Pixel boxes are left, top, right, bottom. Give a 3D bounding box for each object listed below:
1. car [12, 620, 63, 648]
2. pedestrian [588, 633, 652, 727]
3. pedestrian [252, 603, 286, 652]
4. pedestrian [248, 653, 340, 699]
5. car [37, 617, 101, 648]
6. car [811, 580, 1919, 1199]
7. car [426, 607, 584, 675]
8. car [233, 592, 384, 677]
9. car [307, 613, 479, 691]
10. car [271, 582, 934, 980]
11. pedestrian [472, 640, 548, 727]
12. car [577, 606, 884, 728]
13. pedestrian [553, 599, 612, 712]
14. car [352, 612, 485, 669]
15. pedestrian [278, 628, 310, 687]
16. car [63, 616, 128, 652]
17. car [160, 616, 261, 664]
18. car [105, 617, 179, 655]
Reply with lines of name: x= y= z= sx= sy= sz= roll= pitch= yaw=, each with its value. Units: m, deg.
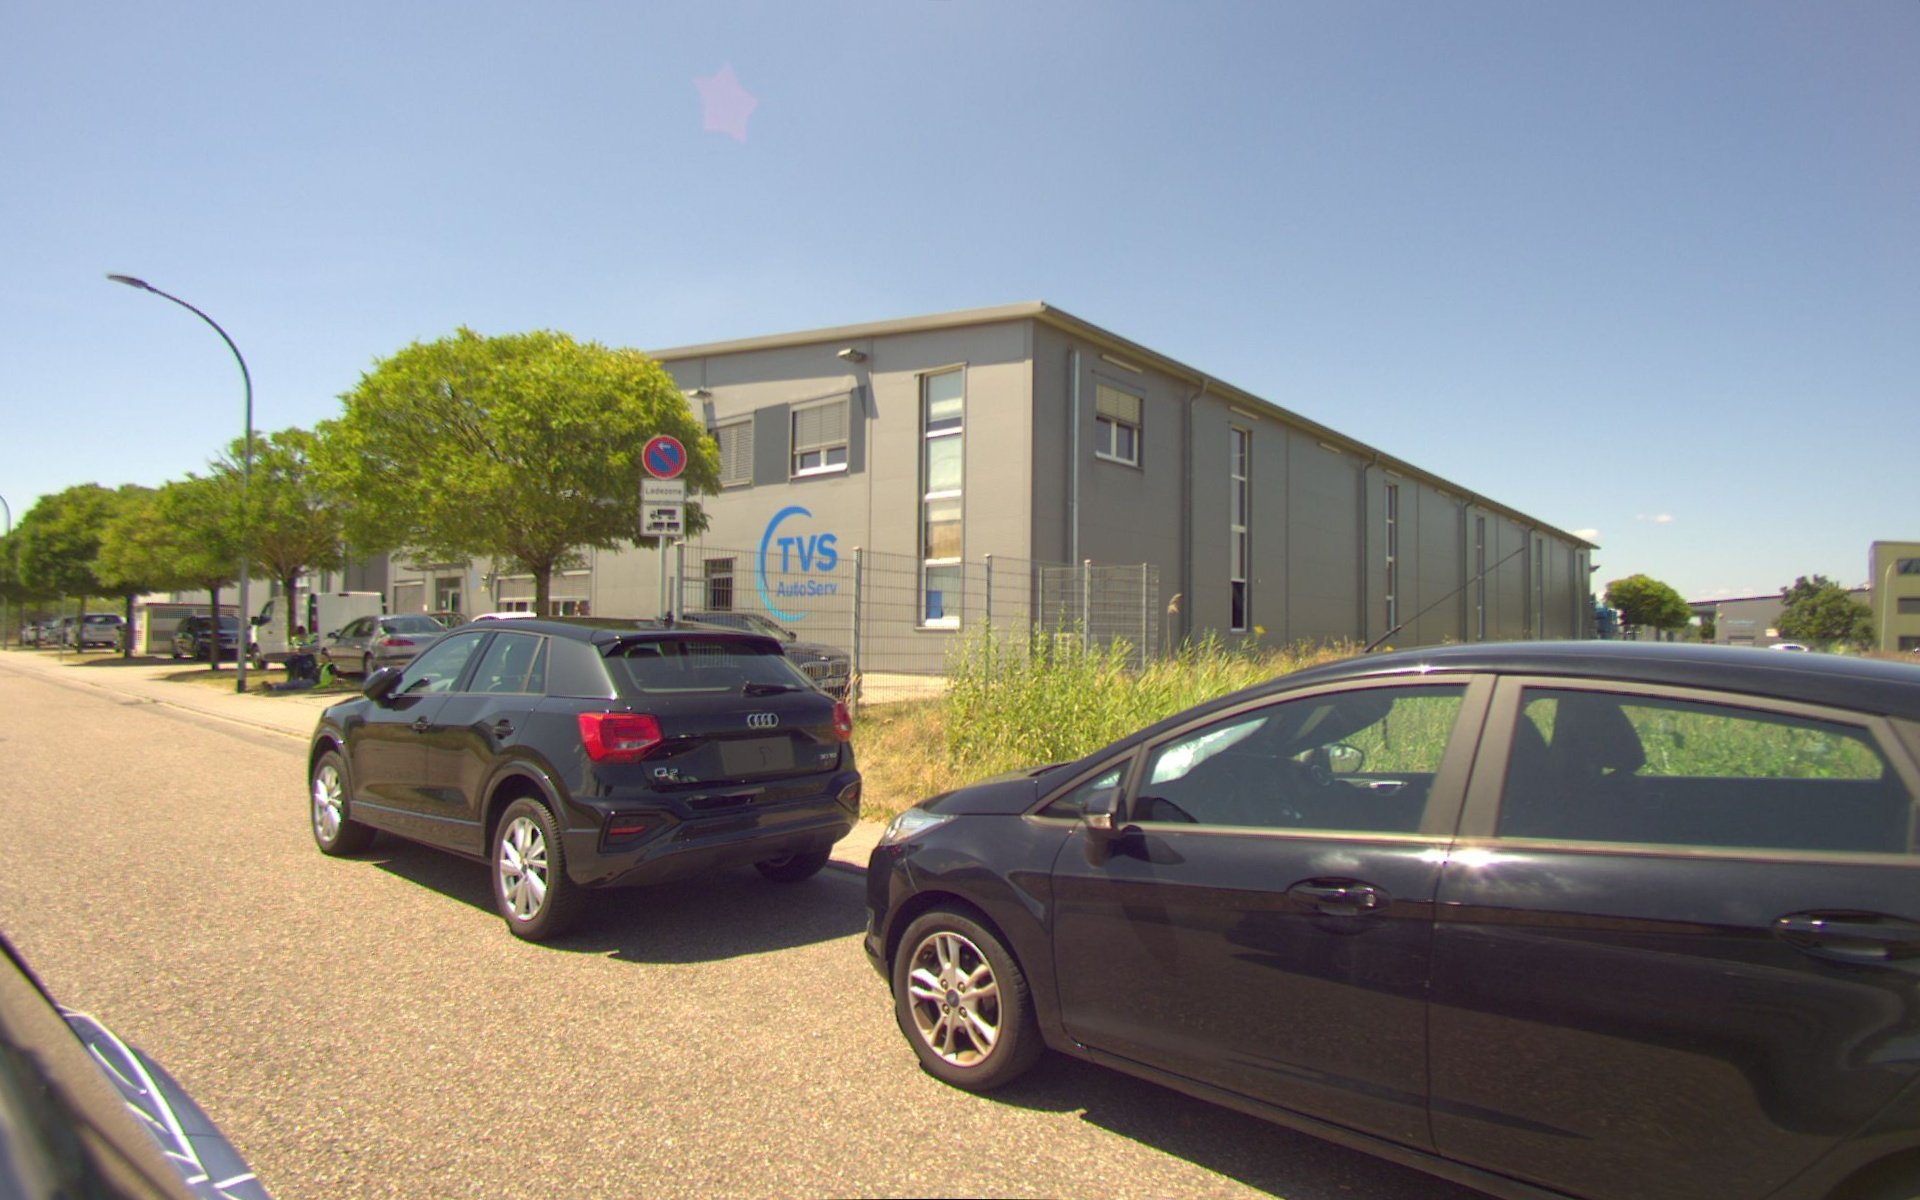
car: x=-53.138 y=1.928 z=58.281 sx=4.327 sy=1.511 sz=1.804 roll=-2 pitch=-1 yaw=43
pedestrian: x=-4.602 y=1.062 z=13.675 sx=0.753 sy=1.200 sz=0.500 roll=-1 pitch=0 yaw=43
pedestrian: x=-28.904 y=1.143 z=42.335 sx=0.829 sy=1.987 sz=0.966 roll=0 pitch=-1 yaw=-9
pedestrian: x=-12.903 y=1.461 z=19.624 sx=0.753 sy=0.754 sz=1.343 roll=-1 pitch=0 yaw=43
car: x=-44.774 y=1.636 z=50.838 sx=3.697 sy=1.511 sz=1.667 roll=-2 pitch=-2 yaw=36
car: x=1.432 y=0.768 z=2.929 sx=3.831 sy=1.504 sz=1.573 roll=-2 pitch=-3 yaw=41
car: x=-11.239 y=0.962 z=24.875 sx=4.464 sy=1.476 sz=1.906 roll=-1 pitch=0 yaw=42
car: x=-17.163 y=0.872 z=26.567 sx=5.120 sy=2.034 sz=1.819 roll=-1 pitch=0 yaw=39
car: x=-12.808 y=1.079 z=22.735 sx=4.840 sy=1.451 sz=1.906 roll=0 pitch=2 yaw=42
car: x=-2.351 y=0.794 z=6.124 sx=4.186 sy=1.579 sz=1.907 roll=-1 pitch=-3 yaw=40
pedestrian: x=-6.183 y=1.126 z=13.908 sx=0.647 sy=1.107 sz=0.742 roll=-1 pitch=0 yaw=45
car: x=-3.452 y=0.878 z=14.723 sx=4.688 sy=1.476 sz=1.907 roll=-1 pitch=0 yaw=40
pedestrian: x=-5.549 y=0.798 z=14.881 sx=0.753 sy=1.607 sz=0.500 roll=-1 pitch=0 yaw=43
car: x=-15.258 y=1.108 z=28.435 sx=4.083 sy=1.451 sz=1.908 roll=-1 pitch=0 yaw=40
pedestrian: x=-13.731 y=1.178 z=20.864 sx=0.472 sy=1.159 sz=0.556 roll=-1 pitch=2 yaw=-39
car: x=-40.699 y=1.567 z=47.601 sx=4.538 sy=1.585 sz=1.747 roll=-1 pitch=-1 yaw=42
car: x=-25.032 y=1.299 z=33.751 sx=4.712 sy=1.464 sz=1.747 roll=-1 pitch=0 yaw=41
car: x=-32.829 y=1.422 z=40.601 sx=3.839 sy=1.464 sz=1.747 roll=-1 pitch=-1 yaw=42
